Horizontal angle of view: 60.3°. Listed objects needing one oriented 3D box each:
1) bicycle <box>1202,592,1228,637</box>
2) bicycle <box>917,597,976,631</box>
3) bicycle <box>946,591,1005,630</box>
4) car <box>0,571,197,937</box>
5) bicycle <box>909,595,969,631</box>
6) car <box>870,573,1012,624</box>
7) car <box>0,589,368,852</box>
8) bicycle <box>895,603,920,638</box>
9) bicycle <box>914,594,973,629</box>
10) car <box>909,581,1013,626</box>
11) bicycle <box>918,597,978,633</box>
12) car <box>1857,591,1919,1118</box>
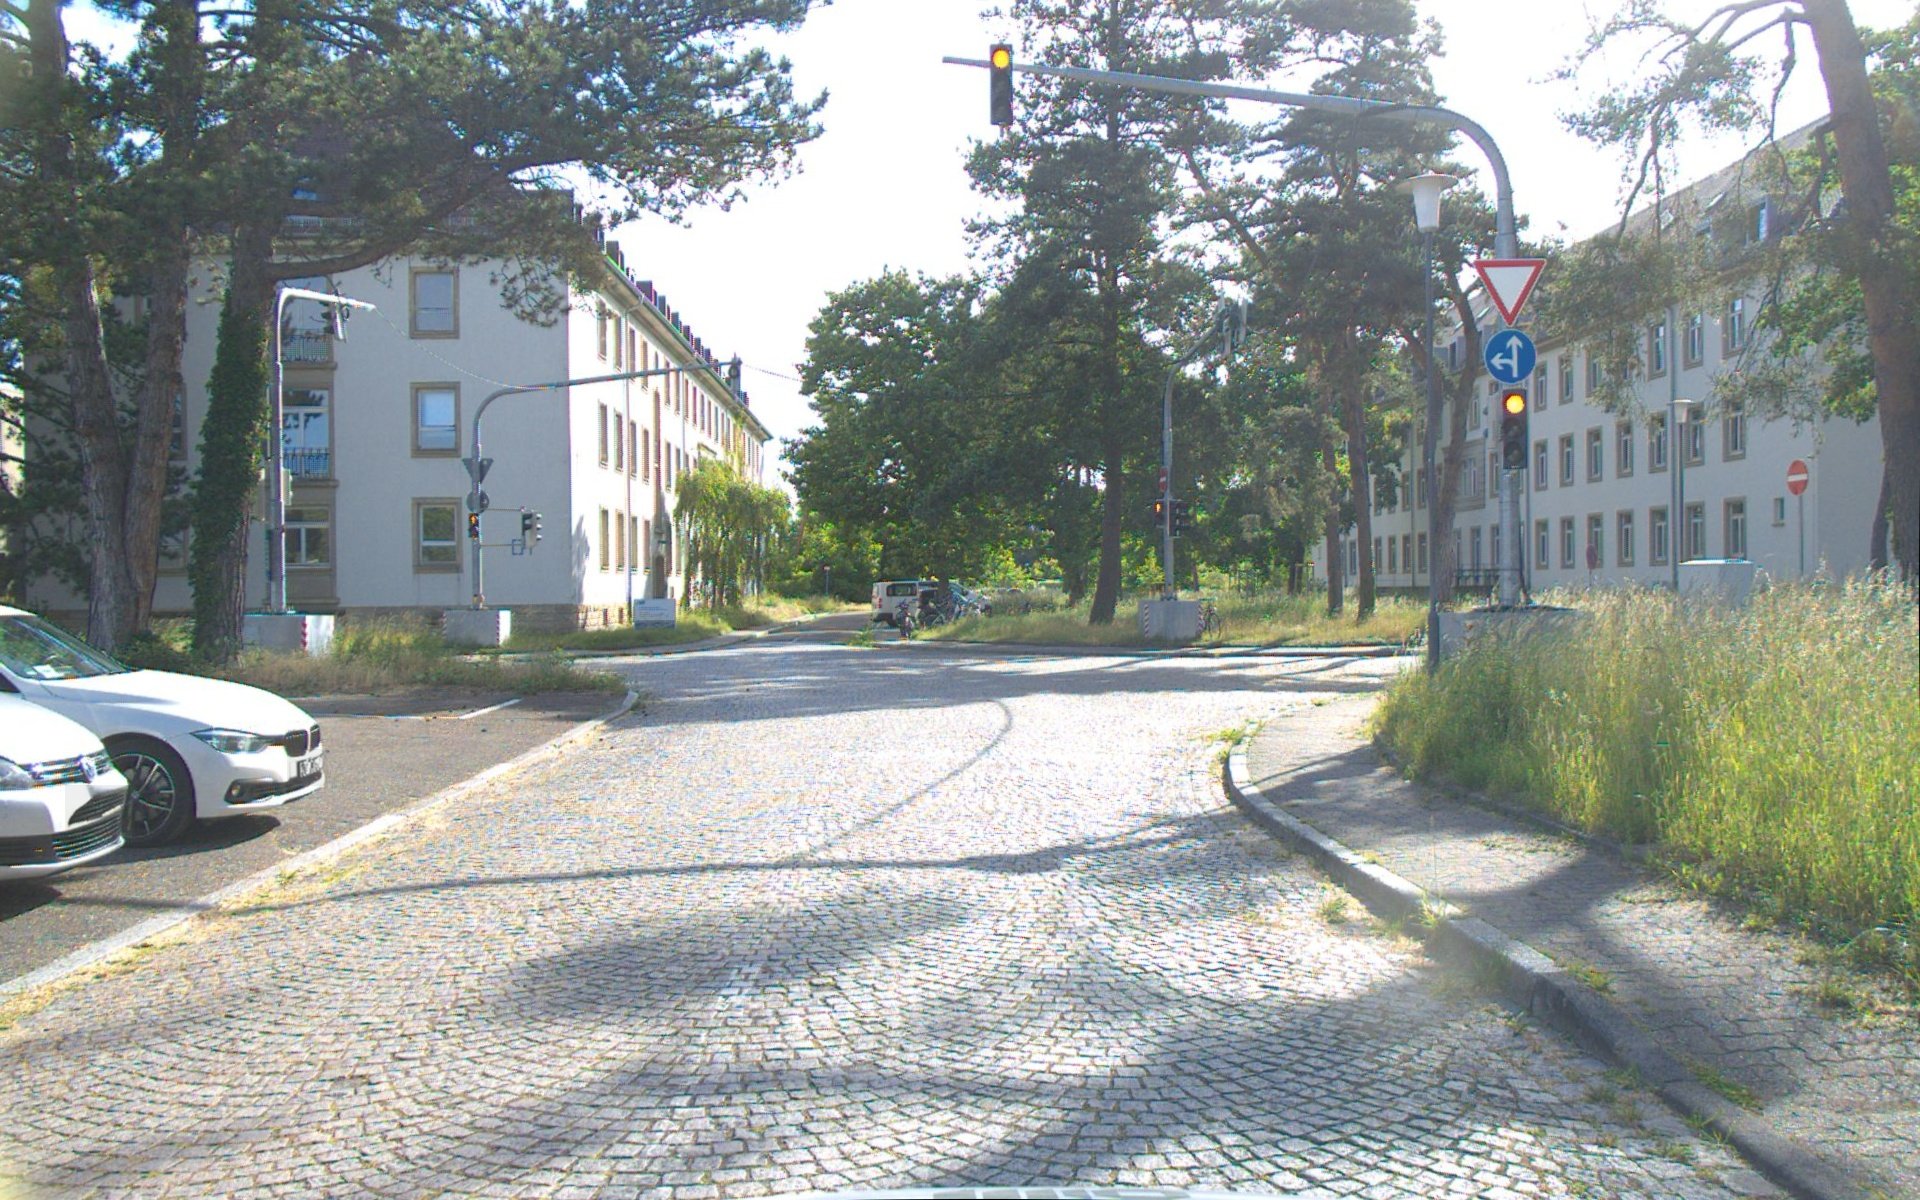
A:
[{"bbox_3d":[6.281,0.353,40.766,0.456,1.099,1.174,-1,0,2],"label":"bicycle"},{"bbox_3d":[-0.445,0.444,52.678,1.818,1.049,0.749,-1,0,-5],"label":"bicycle"},{"bbox_3d":[0.508,0.349,54.210,1.903,1.257,0.485,-1,0,-5],"label":"bicycle"},{"bbox_3d":[-6.131,0.643,8.187,3.868,1.654,1.720,2,0,-6],"label":"car"},{"bbox_3d":[-0.691,0.430,54.683,1.919,1.149,0.641,-1,0,-29],"label":"bicycle"},{"bbox_3d":[-0.851,-0.068,70.817,5.820,2.049,2.470,-1,0,-9],"label":"car"},{"bbox_3d":[-6.360,0.692,10.628,4.452,1.493,1.751,2,1,-5],"label":"car"},{"bbox_3d":[-1.571,0.594,49.143,0.681,0.988,1.859,0,0,-4],"label":"bicycle"},{"bbox_3d":[-0.563,0.375,55.803,1.904,1.149,0.647,-1,0,-7],"label":"bicycle"},{"bbox_3d":[0.028,0.121,66.447,3.914,1.713,1.843,-1,0,-10],"label":"car"},{"bbox_3d":[-0.394,0.481,53.477,1.903,1.149,0.749,-1,0,-5],"label":"bicycle"},{"bbox_3d":[4.676,0.670,4.059,3.935,1.486,1.870,-2,0,-2],"label":"car"}]
